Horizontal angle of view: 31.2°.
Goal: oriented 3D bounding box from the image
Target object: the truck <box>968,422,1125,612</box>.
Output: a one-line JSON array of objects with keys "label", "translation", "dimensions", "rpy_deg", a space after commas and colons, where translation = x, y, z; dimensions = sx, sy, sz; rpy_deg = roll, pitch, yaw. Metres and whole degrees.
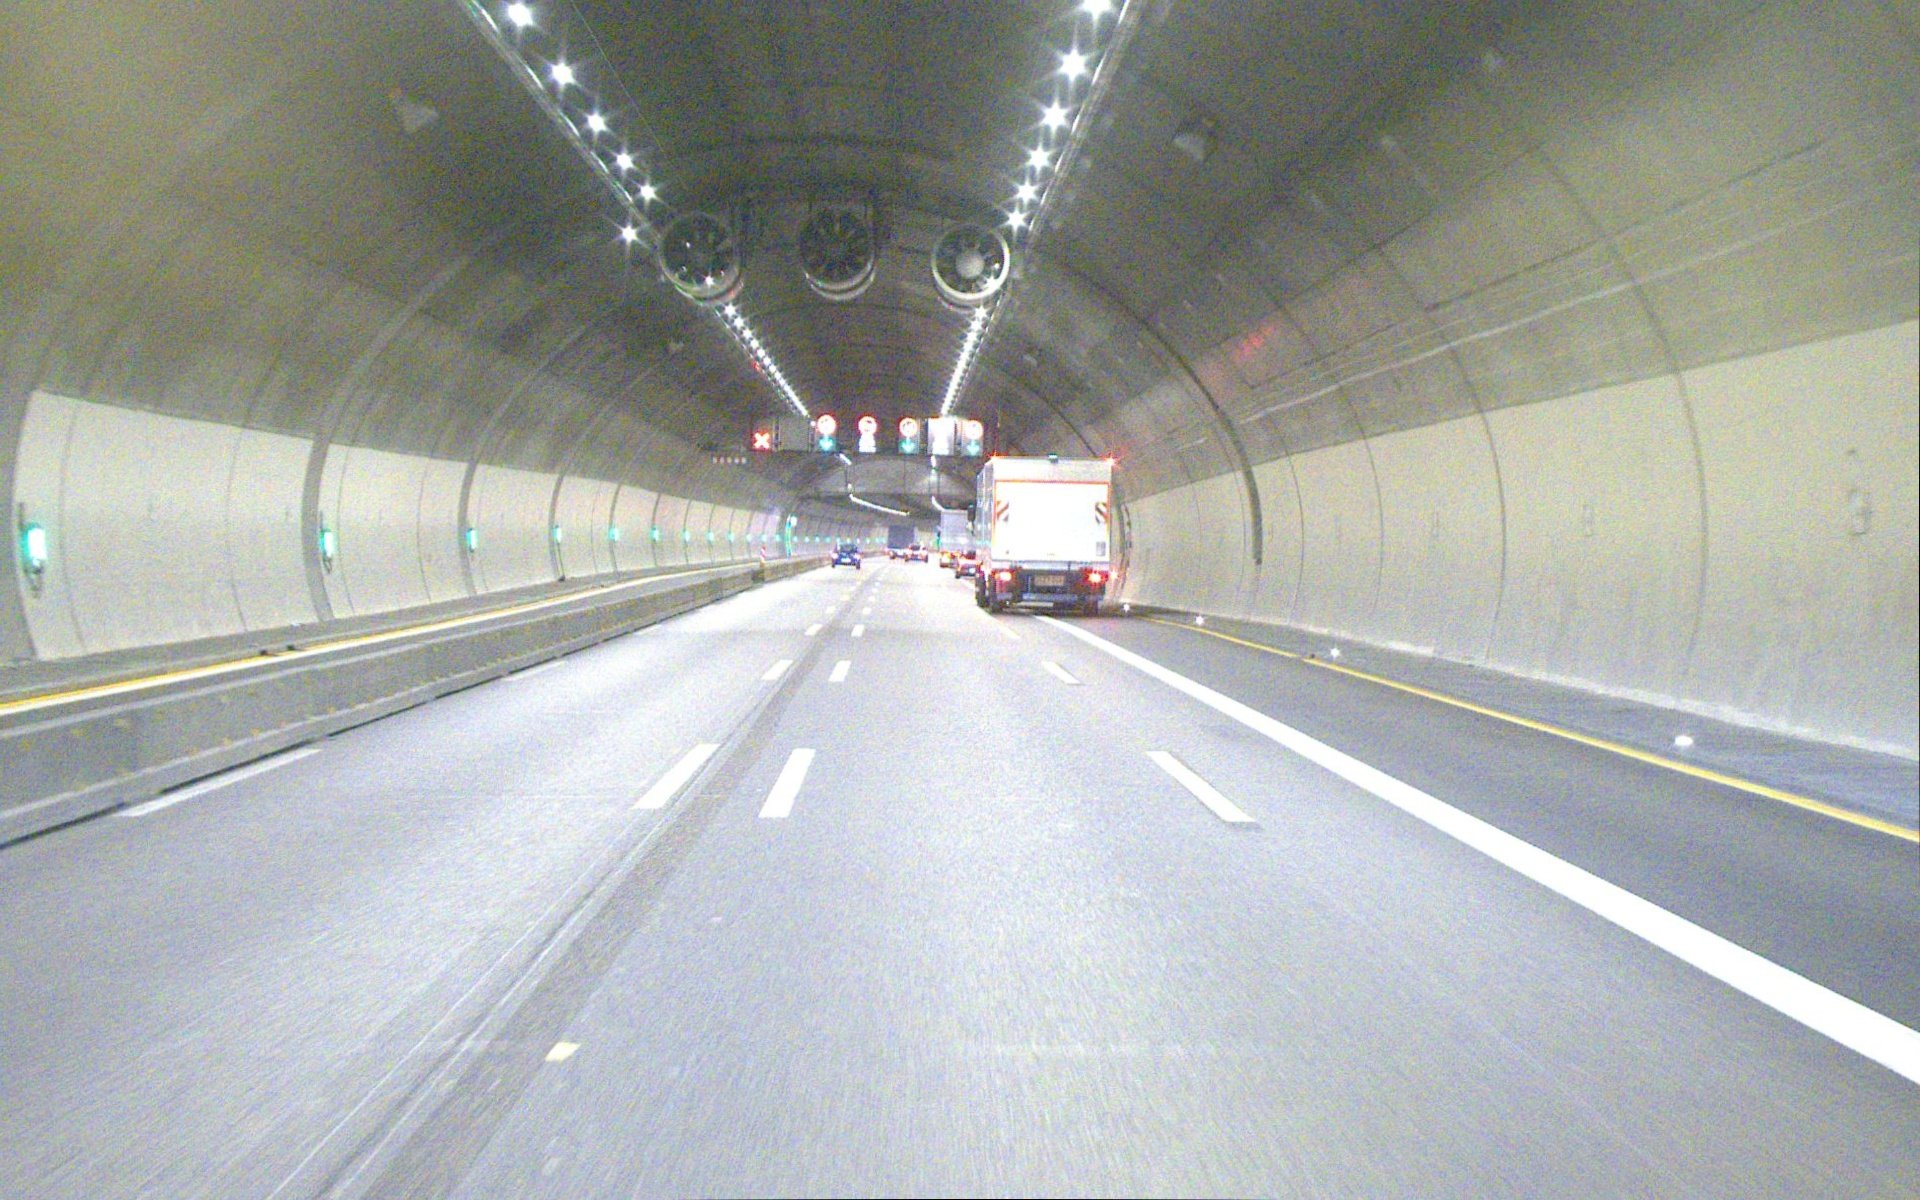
[{"label": "truck", "translation": [1.836, -1.778, 77.707], "dimensions": [3.092, 3.904, 10.368], "rpy_deg": [2, 0, 0]}]

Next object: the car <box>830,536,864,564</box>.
[{"label": "car", "translation": [-6.188, -2.755, 188.530], "dimensions": [1.758, 1.456, 4.119], "rpy_deg": [2, 2, 0]}]

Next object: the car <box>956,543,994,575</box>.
[{"label": "car", "translation": [0.743, -2.009, 166.784], "dimensions": [1.739, 1.456, 3.960], "rpy_deg": [2, 2, 1]}]

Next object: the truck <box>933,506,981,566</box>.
[{"label": "truck", "translation": [-0.149, -4.383, 238.971], "dimensions": [3.066, 3.904, 10.367], "rpy_deg": [2, 0, 1]}]
